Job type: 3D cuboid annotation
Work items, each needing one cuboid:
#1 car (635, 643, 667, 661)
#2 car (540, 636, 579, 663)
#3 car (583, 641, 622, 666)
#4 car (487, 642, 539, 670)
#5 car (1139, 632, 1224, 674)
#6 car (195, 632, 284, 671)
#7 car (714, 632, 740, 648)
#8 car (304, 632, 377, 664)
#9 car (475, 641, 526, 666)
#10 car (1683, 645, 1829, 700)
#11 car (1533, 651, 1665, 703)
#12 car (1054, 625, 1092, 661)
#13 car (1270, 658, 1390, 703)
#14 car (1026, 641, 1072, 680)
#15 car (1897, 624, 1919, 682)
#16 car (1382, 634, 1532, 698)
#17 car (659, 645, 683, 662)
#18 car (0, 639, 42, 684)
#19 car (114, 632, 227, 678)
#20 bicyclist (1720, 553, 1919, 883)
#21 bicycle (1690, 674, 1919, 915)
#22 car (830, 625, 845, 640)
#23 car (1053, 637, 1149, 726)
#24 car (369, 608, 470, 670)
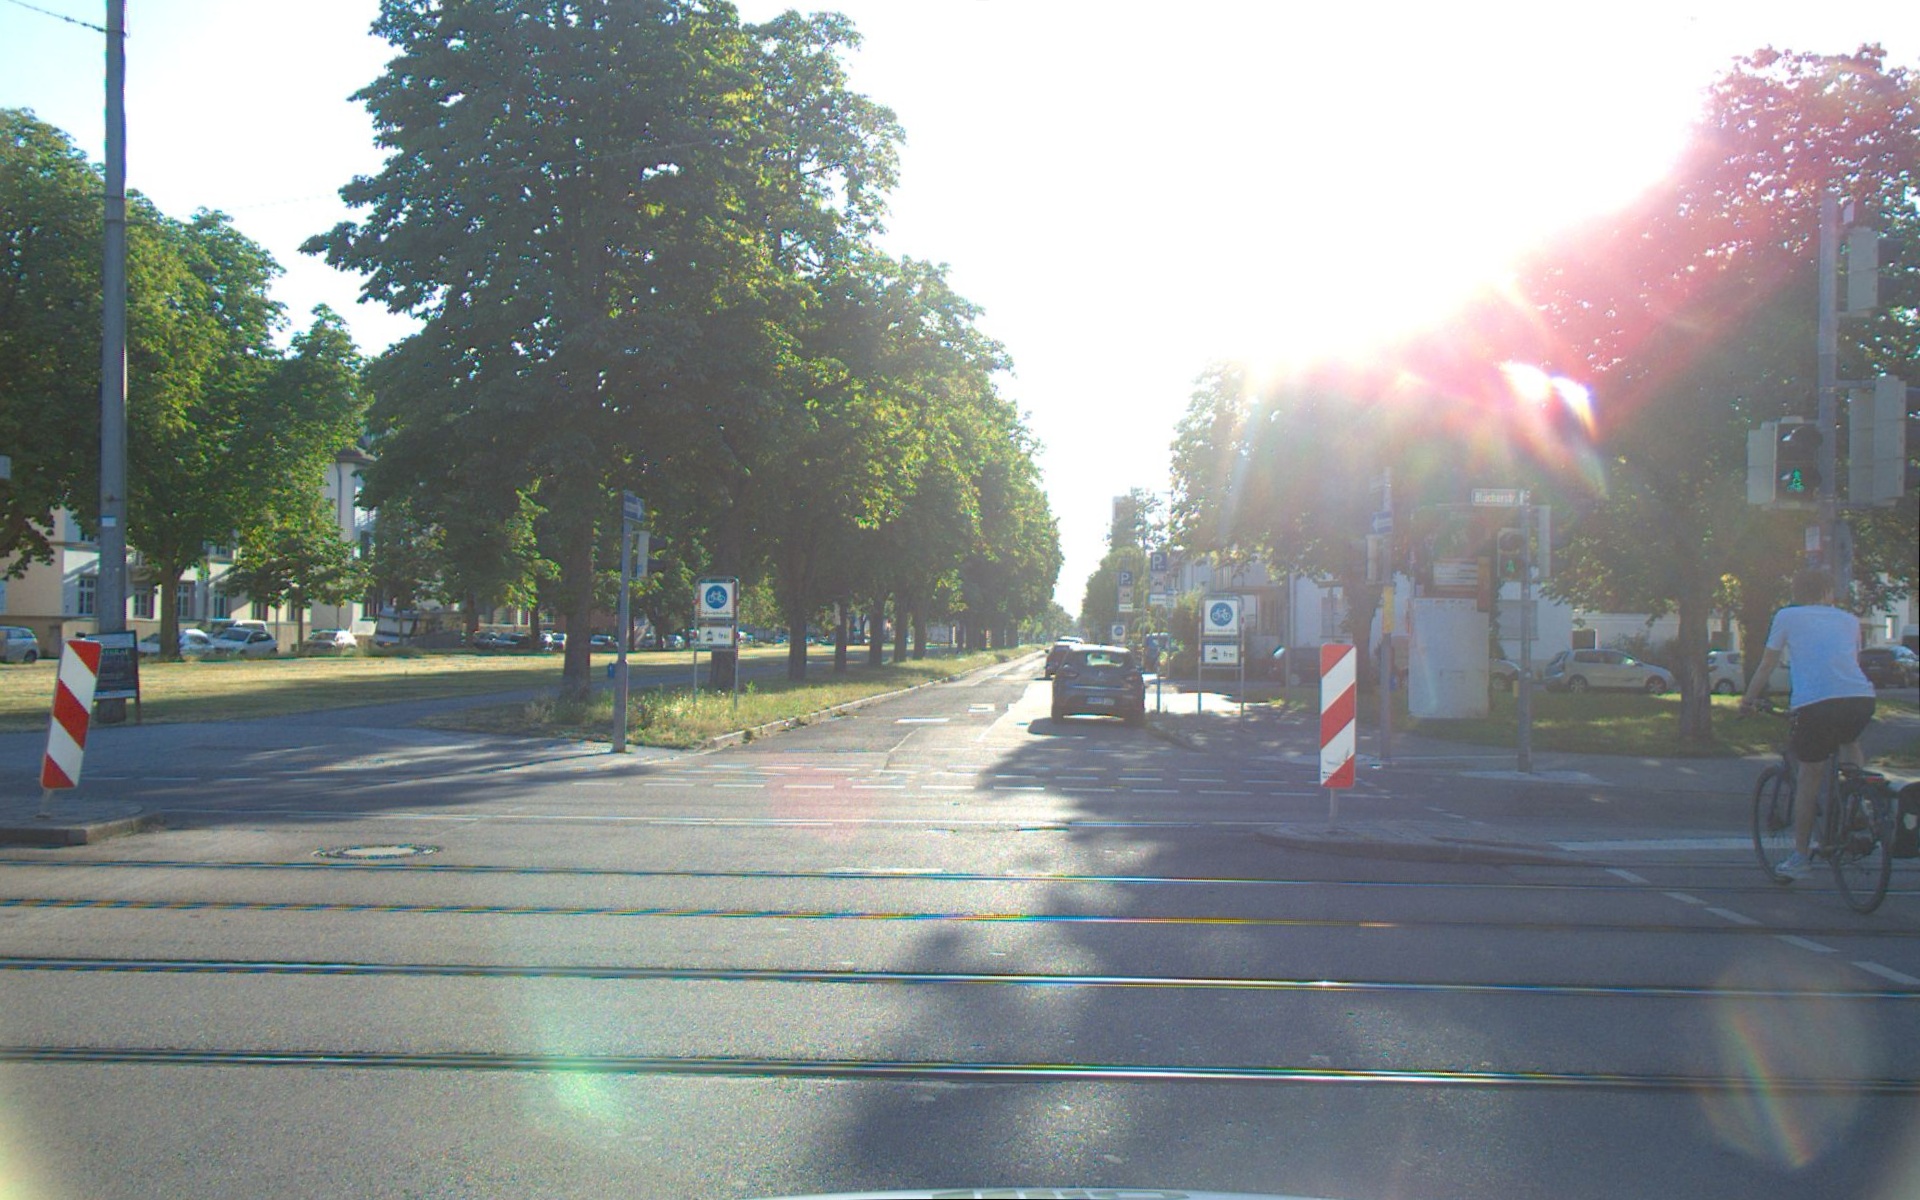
[{"bbox_3d":[-30.680,5.170,164.328,1.951,1.688,4.357,3,-2,5],"label":"car"},{"bbox_3d":[-32.585,4.080,134.591,1.952,2.049,4.000,3,-2,2],"label":"car"},{"bbox_3d":[-27.597,4.141,127.797,1.773,1.812,4.124,3,-2,5],"label":"car"},{"bbox_3d":[-29.061,3.676,107.655,1.840,1.703,4.317,3,-2,4],"label":"car"},{"bbox_3d":[10.738,2.568,80.456,3.905,1.854,1.759,0,-7,0],"label":"car"},{"bbox_3d":[-31.522,2.242,72.489,1.758,1.581,4.420,3,-1,2],"label":"car"},{"bbox_3d":[-25.119,4.294,178.336,1.952,1.688,4.572,1,-1,3],"label":"car"},{"bbox_3d":[-35.176,2.751,94.021,1.951,1.688,4.572,3,-2,5],"label":"car"},{"bbox_3d":[-32.822,3.838,118.243,1.951,1.688,4.376,3,-2,5],"label":"car"},{"bbox_3d":[24.730,2.256,51.458,3.842,1.551,1.523,2,-3,-1],"label":"car"},{"bbox_3d":[19.774,2.379,51.226,3.481,1.542,1.604,1,-2,-2],"label":"car"},{"bbox_3d":[6.186,2.375,91.213,1.952,1.813,4.001,3,-1,3],"label":"car"},{"bbox_3d":[13.057,2.855,58.562,3.903,1.472,1.716,1,-3,3],"label":"car"},{"bbox_3d":[3.557,2.406,65.444,1.674,1.383,4.204,3,-2,4],"label":"car"},{"bbox_3d":[43.017,2.405,72.526,4.481,2.378,2.080,5,-3,-43],"label":"car"},{"bbox_3d":[15.552,2.067,51.906,4.152,1.908,2.031,1,-3,4],"label":"car"},{"bbox_3d":[-30.018,5.572,171.784,1.605,1.672,3.855,3,-2,2],"label":"car"},{"bbox_3d":[-37.764,2.355,63.912,1.951,1.688,4.002,3,-2,5],"label":"car"},{"bbox_3d":[-31.768,2.229,66.712,1.951,1.688,4.572,3,-2,5],"label":"car"},{"bbox_3d":[5.000,0.663,9.479,0.798,1.762,0.893,3,-3,-5],"label":"bicyclist"},{"bbox_3d":[4.988,1.059,9.533,0.561,1.205,1.903,3,-2,-5],"label":"bicycle"},{"bbox_3d":[-18.090,4.835,244.524,1.619,1.972,3.568,3,-3,3],"label":"car"},{"bbox_3d":[2.753,1.562,32.008,1.689,1.537,4.542,1,-2,5],"label":"car"},{"bbox_3d":[-30.036,2.167,92.222,2.342,3.185,7.856,3,-1,4],"label":"car"}]
